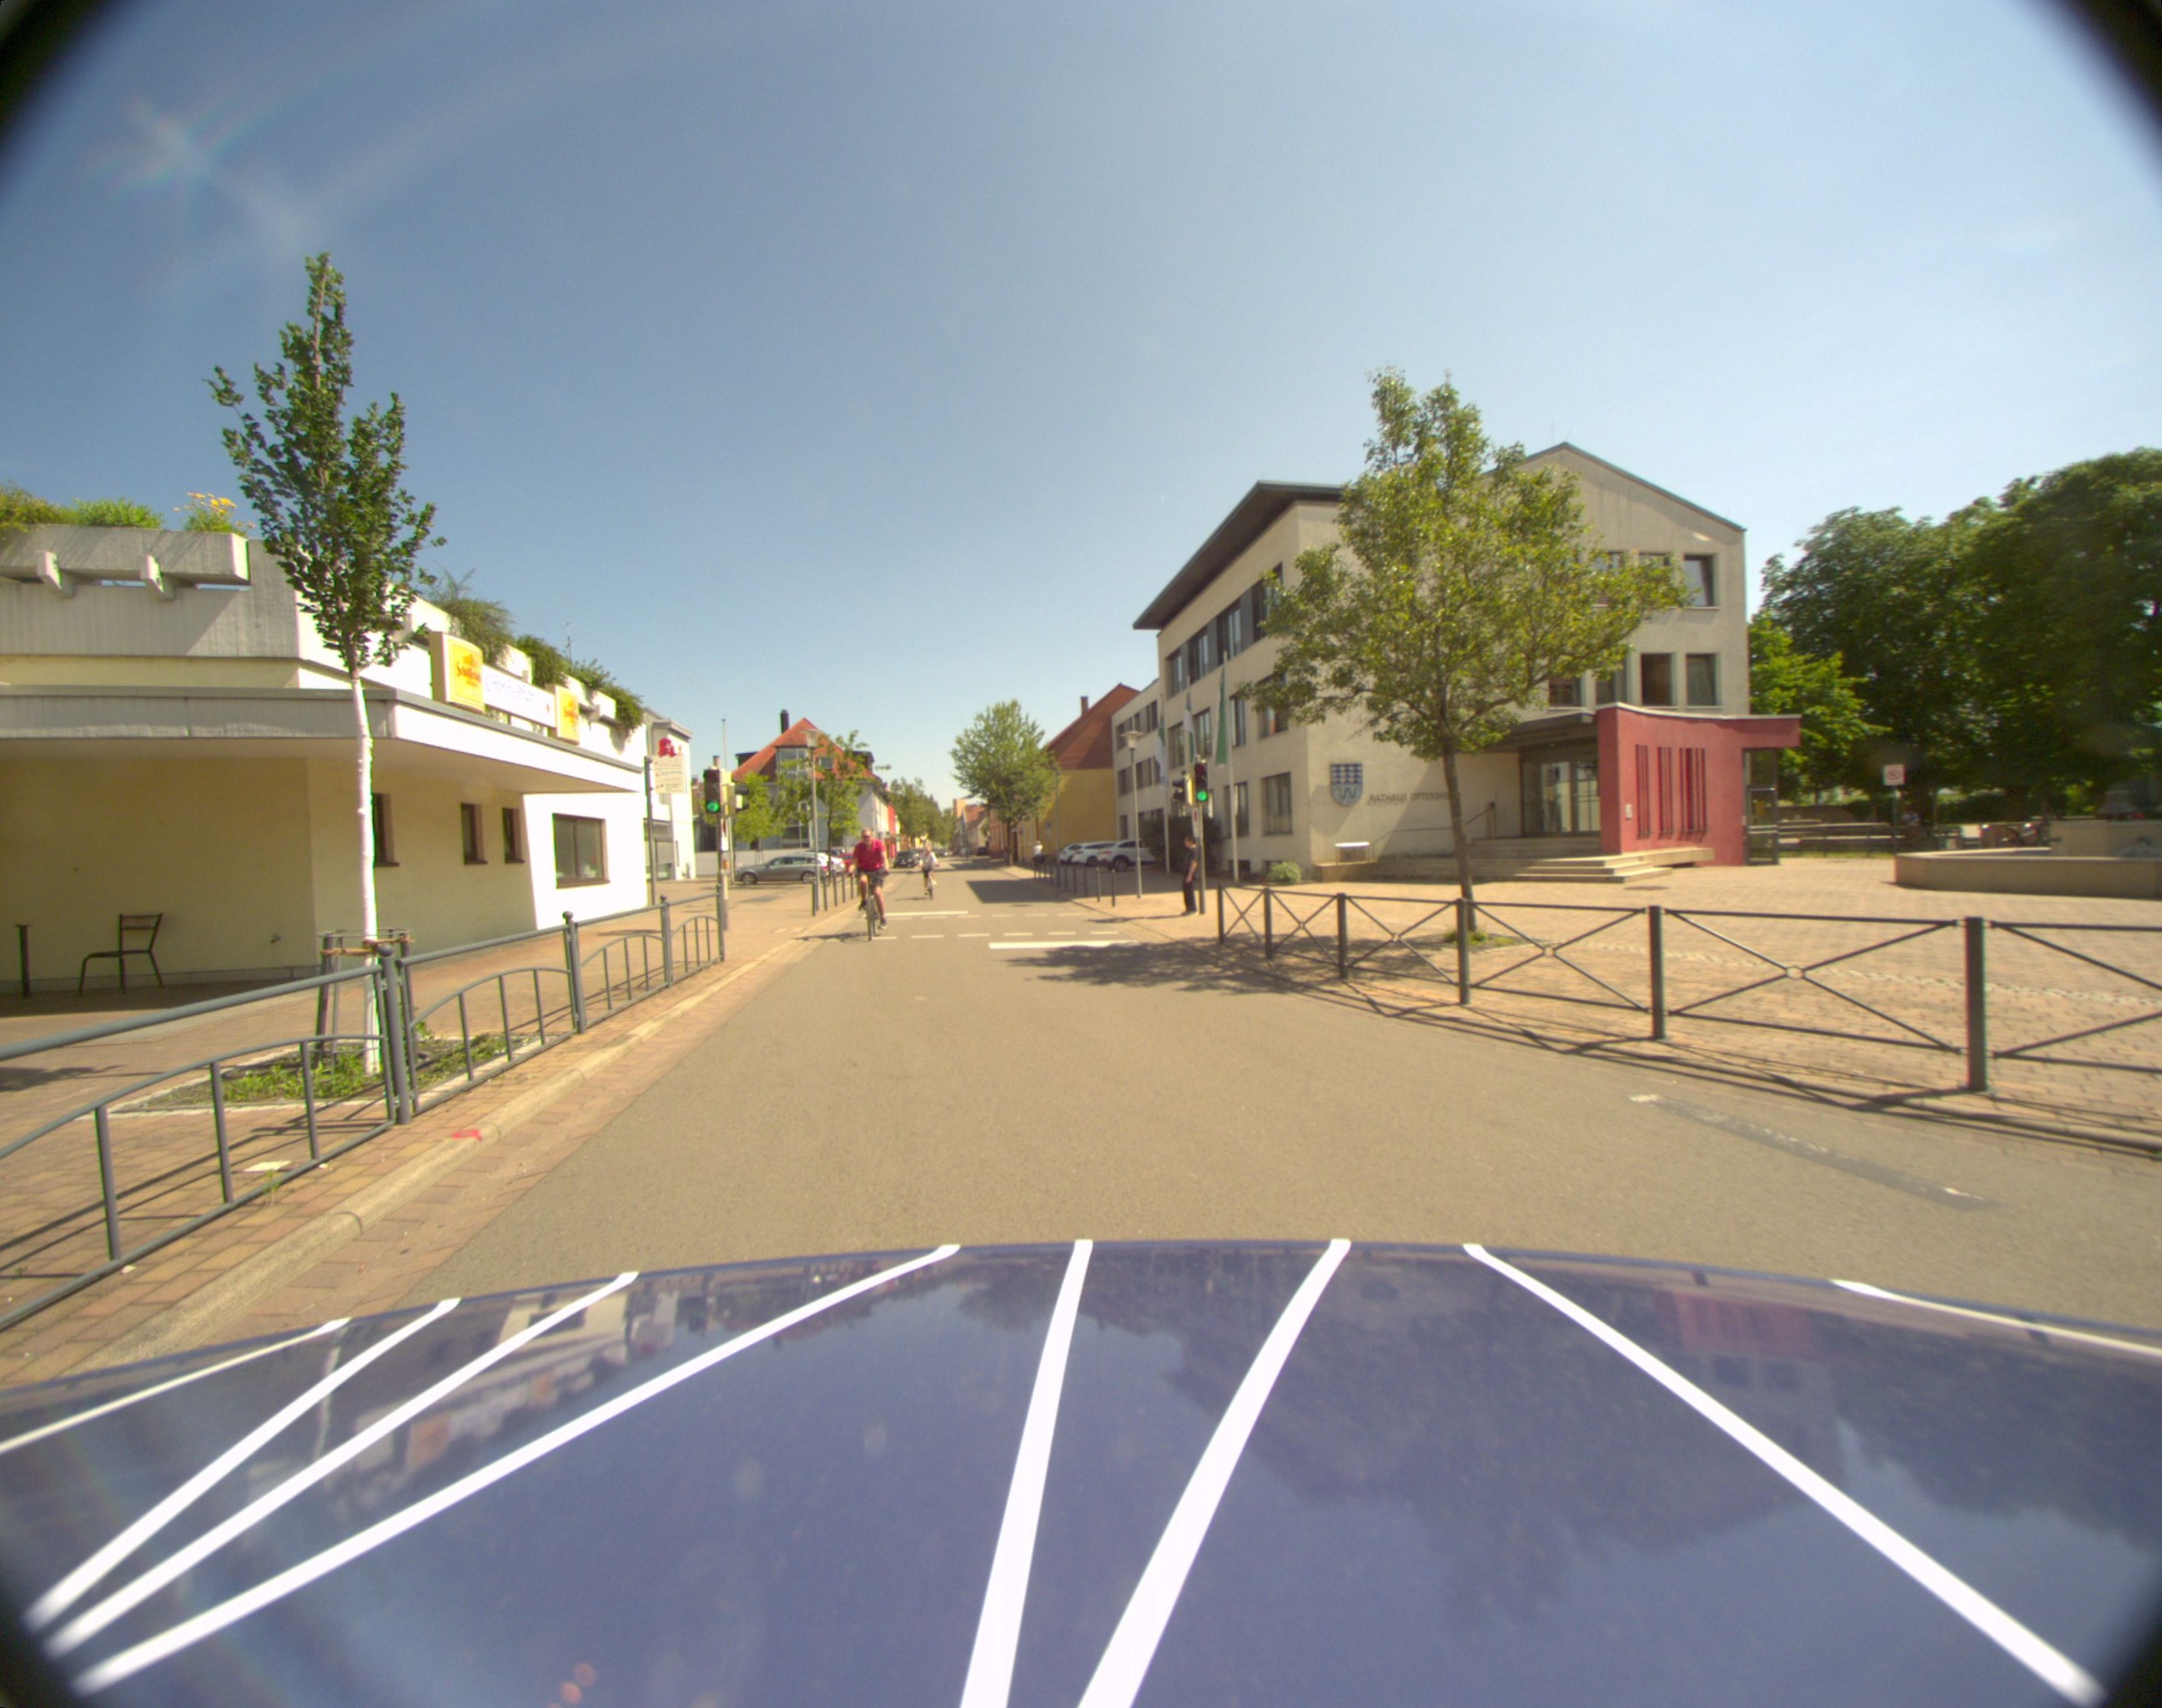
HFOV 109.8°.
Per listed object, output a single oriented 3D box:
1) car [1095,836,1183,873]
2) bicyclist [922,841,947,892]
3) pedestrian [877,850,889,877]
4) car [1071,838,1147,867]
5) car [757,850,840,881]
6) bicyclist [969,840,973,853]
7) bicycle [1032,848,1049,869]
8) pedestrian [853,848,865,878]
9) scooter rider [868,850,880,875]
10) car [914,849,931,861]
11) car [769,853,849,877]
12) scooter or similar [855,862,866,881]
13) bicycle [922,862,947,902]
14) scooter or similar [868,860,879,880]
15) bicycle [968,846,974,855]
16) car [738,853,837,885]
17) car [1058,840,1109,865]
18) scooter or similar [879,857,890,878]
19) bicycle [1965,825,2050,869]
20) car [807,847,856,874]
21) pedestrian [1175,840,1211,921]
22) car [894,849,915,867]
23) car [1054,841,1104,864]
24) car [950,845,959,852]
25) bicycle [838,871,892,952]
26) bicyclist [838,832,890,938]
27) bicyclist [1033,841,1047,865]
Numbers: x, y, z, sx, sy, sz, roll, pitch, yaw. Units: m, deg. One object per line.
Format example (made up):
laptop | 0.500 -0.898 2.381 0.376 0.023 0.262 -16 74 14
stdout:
car | 2.877 0.004 38.133 4.000 1.539 1.747 -4 2 -11
bicyclist | -4.748 0.394 24.577 0.703 1.573 0.877 -3 2 -12
pedestrian | -10.914 0.516 41.935 0.513 1.507 1.047 -1 1 -10
car | 1.691 -0.104 46.307 4.327 1.470 1.512 -4 2 -9
car | -15.125 0.612 40.910 4.050 1.550 1.710 -1 1 -16
bicyclist | -14.437 -1.005 99.619 0.539 1.630 0.550 -2 1 -11
bicycle | -2.528 0.251 47.490 0.711 1.245 1.970 -2 1 -12
pedestrian | -11.561 0.463 39.606 0.532 1.492 0.723 -2 1 -13
scooter rider | -11.049 0.440 40.544 0.463 1.317 1.132 -2 1 -8
car | -17.405 0.070 83.423 1.531 1.298 3.246 -1 1 -15
car | -16.412 0.648 46.030 4.450 1.434 1.654 0 1 -18
scooter or similar | -11.665 0.933 40.195 0.536 0.940 0.546 -2 1 -13
bicycle | -4.719 0.869 24.460 0.690 1.183 1.797 -1 1 -13
scooter or similar | -11.046 0.843 40.536 0.412 0.960 0.958 -2 5 -8
bicycle | -14.404 -0.470 99.681 0.595 1.183 1.723 -3 2 -12
car | -14.637 0.721 38.088 4.449 1.457 1.688 -1 2 -15
car | 0.157 -0.098 51.307 3.141 1.442 1.641 -4 2 -9
scooter or similar | -11.079 0.753 42.894 0.506 1.112 0.908 -1 1 -9
bicycle | 24.651 -0.185 20.221 1.954 1.000 0.580 -4 2 -11
car | -16.638 0.425 50.745 3.043 1.727 1.343 -1 1 -15
pedestrian | 2.309 0.539 15.581 0.548 1.610 0.558 -1 3 25
car | -14.817 0.319 63.777 1.531 1.444 3.516 -2 1 -15
car | -0.178 -0.108 53.490 3.260 1.393 1.373 -4 2 -11
car | -31.859 -1.442 190.962 2.000 1.696 3.996 -2 1 -11
bicycle | -3.661 0.926 12.989 0.738 1.183 1.968 -3 2 -13
bicyclist | -3.662 0.505 12.877 0.703 1.707 0.759 -3 3 -12
bicyclist | -2.571 -0.059 47.519 0.717 1.498 0.870 -2 1 -12
